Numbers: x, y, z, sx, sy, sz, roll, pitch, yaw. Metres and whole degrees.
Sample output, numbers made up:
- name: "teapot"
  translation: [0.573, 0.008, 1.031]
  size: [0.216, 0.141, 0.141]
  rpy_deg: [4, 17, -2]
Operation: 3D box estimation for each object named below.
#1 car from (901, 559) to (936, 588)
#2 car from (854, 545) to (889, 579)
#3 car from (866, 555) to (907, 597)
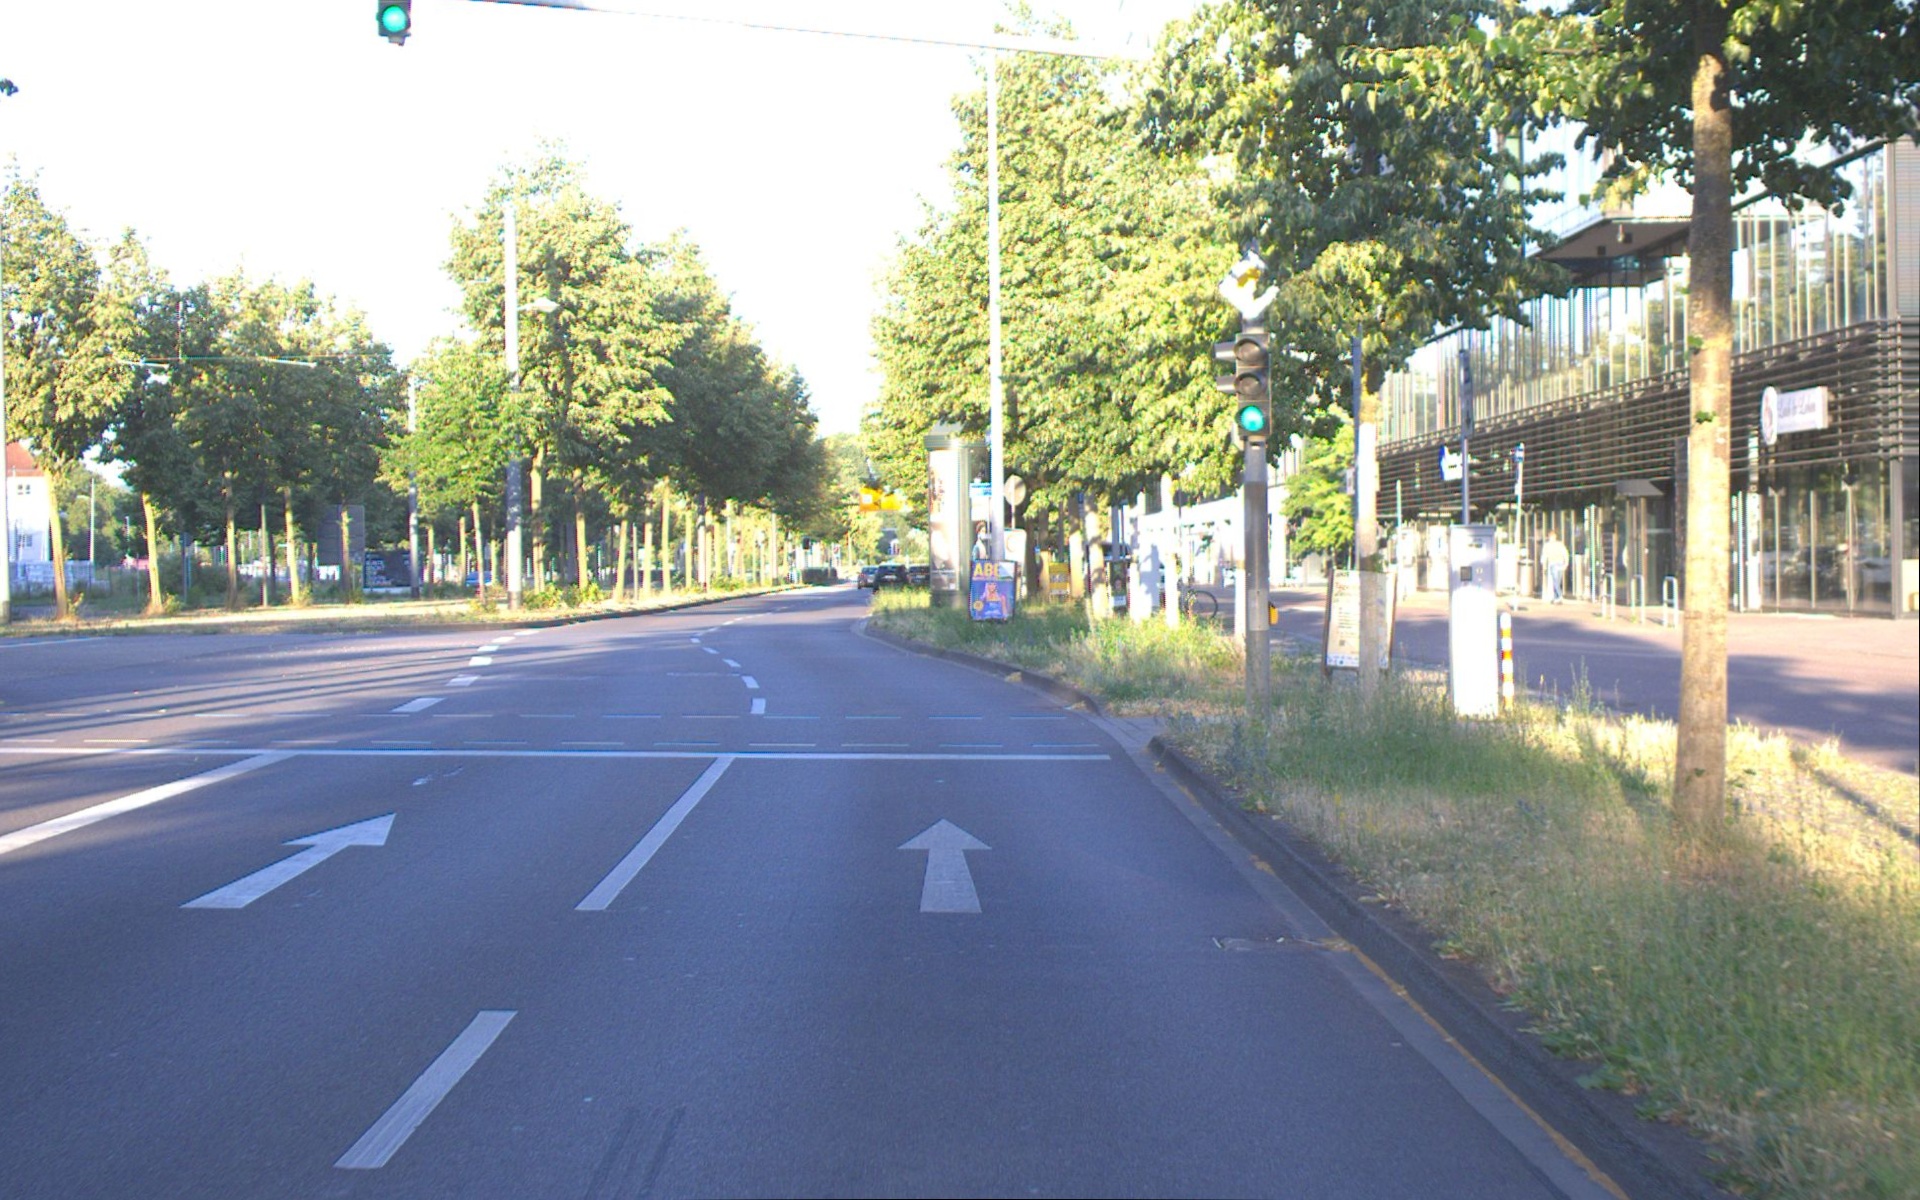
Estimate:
- name: "car"
  translation: [-2.383, -1.541, 197.568]
  size: [1.872, 1.568, 3.677]
  rpy_deg: [0, 1, 1]
- name: "car"
  translation: [-5.427, -2.351, 210.458]
  size: [2.087, 2.007, 4.001]
  rpy_deg: [-1, 1, -1]
- name: "car"
  translation: [-3.679, -1.223, 171.647]
  size: [1.993, 2.007, 4.001]
  rpy_deg: [-1, 1, -1]
